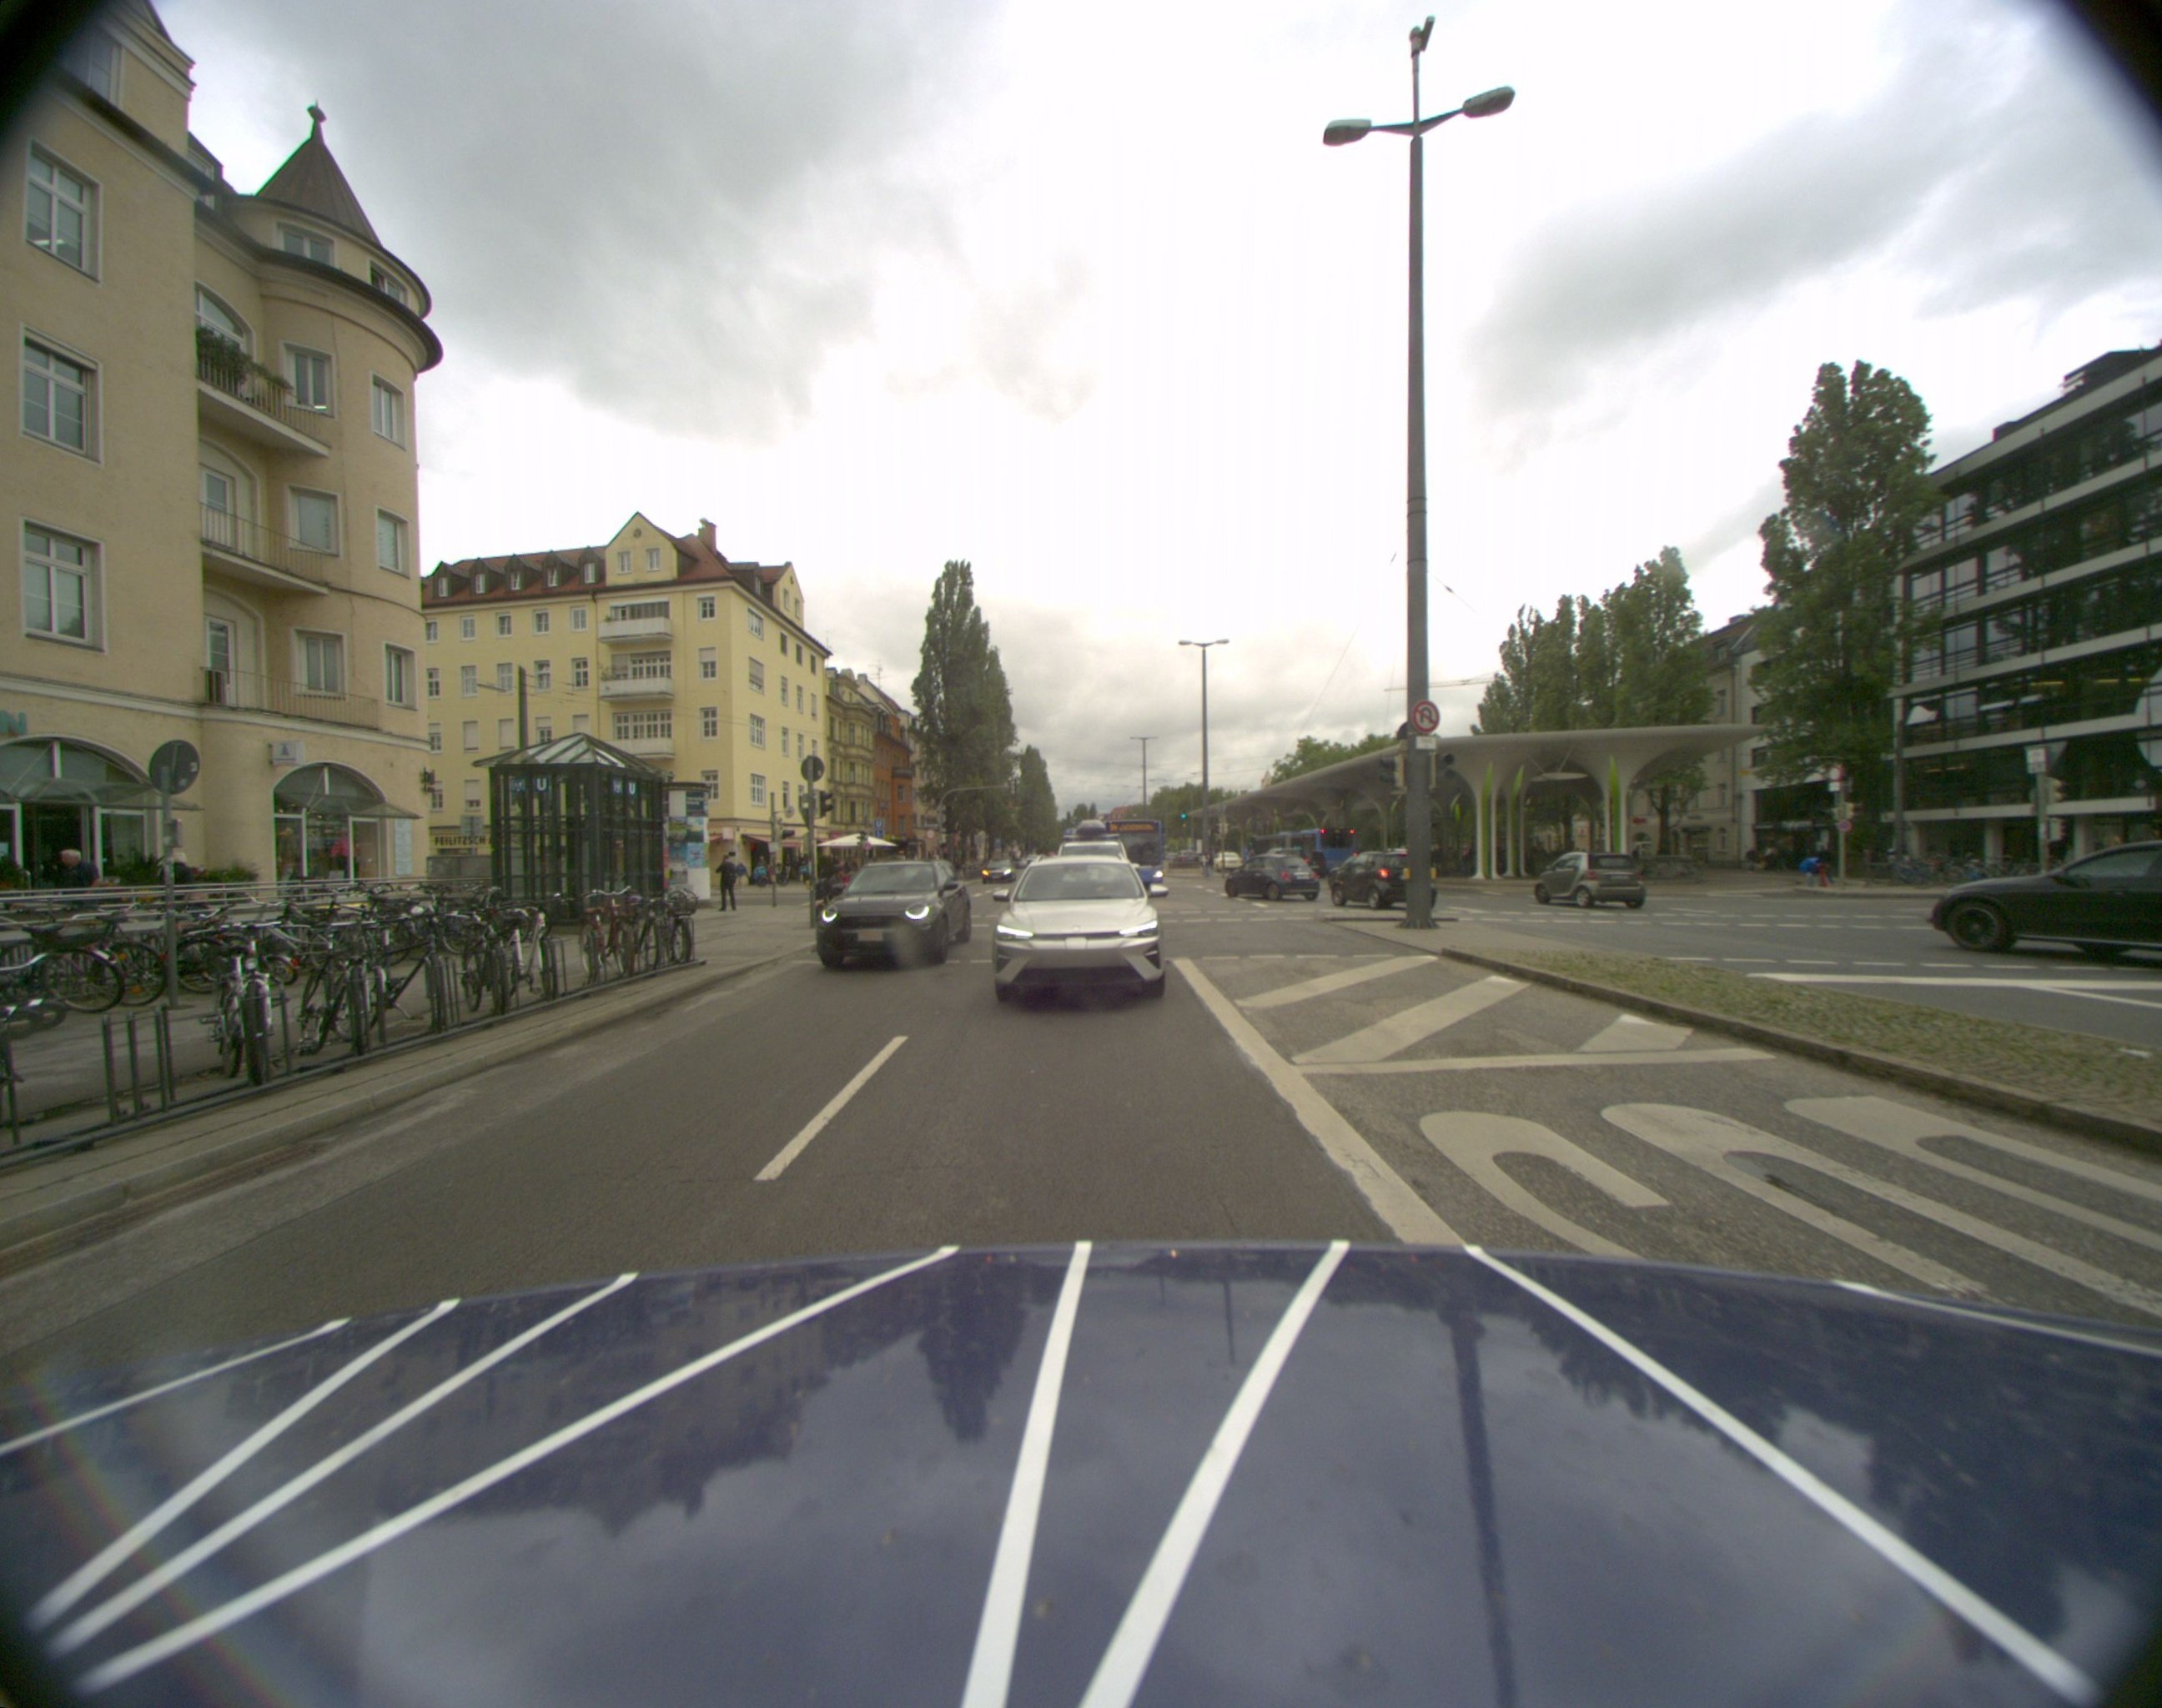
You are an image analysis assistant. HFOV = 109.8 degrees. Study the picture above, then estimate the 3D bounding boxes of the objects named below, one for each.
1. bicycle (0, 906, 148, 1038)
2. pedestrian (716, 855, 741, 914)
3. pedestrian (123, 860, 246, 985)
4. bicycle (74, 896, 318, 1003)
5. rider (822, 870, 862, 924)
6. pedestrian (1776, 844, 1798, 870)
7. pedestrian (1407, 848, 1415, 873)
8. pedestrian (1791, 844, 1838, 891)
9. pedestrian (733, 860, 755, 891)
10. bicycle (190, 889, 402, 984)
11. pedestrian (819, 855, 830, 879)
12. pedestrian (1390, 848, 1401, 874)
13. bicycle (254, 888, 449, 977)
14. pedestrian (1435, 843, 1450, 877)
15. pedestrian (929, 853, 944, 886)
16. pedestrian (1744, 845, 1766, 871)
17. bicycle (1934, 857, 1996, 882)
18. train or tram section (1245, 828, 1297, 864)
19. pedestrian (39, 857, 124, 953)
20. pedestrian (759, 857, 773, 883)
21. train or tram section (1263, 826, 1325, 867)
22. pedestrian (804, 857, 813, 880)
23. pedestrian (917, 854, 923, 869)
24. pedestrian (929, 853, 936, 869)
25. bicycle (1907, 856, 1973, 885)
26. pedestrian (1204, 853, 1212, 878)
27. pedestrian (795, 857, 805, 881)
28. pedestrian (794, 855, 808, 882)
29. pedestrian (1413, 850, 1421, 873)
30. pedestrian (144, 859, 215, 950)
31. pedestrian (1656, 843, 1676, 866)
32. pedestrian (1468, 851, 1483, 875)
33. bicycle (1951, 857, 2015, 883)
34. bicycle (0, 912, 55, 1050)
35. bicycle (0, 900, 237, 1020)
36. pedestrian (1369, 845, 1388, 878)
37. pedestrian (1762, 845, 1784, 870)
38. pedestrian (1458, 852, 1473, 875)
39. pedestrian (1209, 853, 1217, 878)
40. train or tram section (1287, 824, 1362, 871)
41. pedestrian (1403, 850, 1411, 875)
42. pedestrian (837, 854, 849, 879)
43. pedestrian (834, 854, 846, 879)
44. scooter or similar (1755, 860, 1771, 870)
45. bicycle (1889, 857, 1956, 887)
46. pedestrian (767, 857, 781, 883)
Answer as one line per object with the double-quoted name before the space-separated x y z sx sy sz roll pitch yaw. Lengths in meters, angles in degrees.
"bicycle" -10.897 1.163 7.638 2.342 1.220 0.628 -1 1 3
"pedestrian" -10.794 0.911 23.283 0.641 1.767 0.609 -2 1 -23
"pedestrian" -12.659 0.936 10.761 0.809 1.682 0.755 -1 1 -13
"bicycle" -10.776 1.152 9.288 2.342 1.220 0.628 -1 1 3
"rider" -5.722 1.021 18.224 0.732 1.234 0.732 1 1 -2
"pedestrian" 48.294 0.205 51.986 0.800 1.714 0.827 0 1 12
"pedestrian" 19.472 0.366 44.798 0.335 1.493 0.317 -1 1 -9
"pedestrian" 28.264 0.499 29.283 0.861 1.767 0.980 -1 1 1
"pedestrian" -17.505 1.109 39.502 0.714 1.558 0.832 -2 1 1
"bicycle" -10.728 1.116 10.416 2.330 1.220 0.628 -1 1 3
"pedestrian" -18.146 0.888 53.801 0.552 1.675 0.585 -1 1 1
"pedestrian" 18.669 0.403 45.113 0.425 1.493 0.490 0 1 41
"bicycle" -10.695 1.140 11.172 2.317 1.220 0.628 -1 1 3
"pedestrian" 19.473 0.318 40.925 0.666 1.840 0.789 0 1 20
"pedestrian" -8.023 0.844 42.183 0.732 1.792 0.710 -1 3 -8
"pedestrian" 45.238 0.253 51.010 0.834 1.689 0.906 0 1 23
"bicycle" 41.394 0.717 35.588 2.073 1.127 0.561 -1 1 6
"train or tram section" 16.629 -0.647 66.998 2.840 2.983 7.407 -1 0 0
"pedestrian" -18.422 0.923 14.022 0.618 1.729 0.644 -1 2 -1
"pedestrian" -18.420 0.934 44.425 0.528 1.517 0.585 -1 1 1
"train or tram section" 16.581 -0.539 59.628 2.840 2.983 7.407 -1 0 0
"pedestrian" -17.922 0.968 49.935 0.529 1.517 0.584 -1 1 -17
"pedestrian" -17.420 0.804 82.124 0.552 1.675 0.585 -1 1 1
"pedestrian" -16.275 0.747 83.247 0.552 1.675 0.585 -1 1 1
"bicycle" 33.927 0.625 30.038 0.473 1.091 1.672 -1 0 -24
"pedestrian" 7.277 0.648 43.610 0.357 1.411 0.380 -1 1 0
"pedestrian" -18.440 0.990 49.857 0.529 1.517 0.584 -1 1 -17
"pedestrian" -17.654 0.898 47.934 0.685 1.657 0.621 -1 1 -31
"pedestrian" 19.630 0.428 44.398 0.303 1.369 0.270 -1 1 -2
"pedestrian" -17.297 0.947 14.595 0.566 1.691 0.590 -1 2 -1
"pedestrian" 45.109 0.065 58.556 0.984 1.762 0.951 -1 1 -31
"pedestrian" 22.464 0.514 43.245 0.549 1.330 0.592 -1 1 0
"bicycle" 41.373 0.728 34.851 2.073 1.127 0.561 -1 1 6
"bicycle" -10.954 1.175 6.960 2.367 1.220 0.628 -1 1 3
"bicycle" -10.744 1.147 8.351 2.317 1.220 0.628 -1 1 3
"pedestrian" 16.119 0.412 41.122 0.711 1.738 0.788 0 1 0
"pedestrian" 47.360 0.243 52.039 0.800 1.714 0.827 0 1 11
"pedestrian" 21.895 0.536 43.285 0.549 1.330 0.592 -1 1 0
"pedestrian" 7.511 0.645 43.242 0.357 1.411 0.380 -1 1 0
"train or tram section" 16.523 -0.434 52.214 2.840 2.983 7.407 -1 0 0
"pedestrian" 19.187 0.495 44.774 0.320 1.493 0.317 -1 1 -9
"pedestrian" -15.836 0.827 50.598 0.552 1.675 0.585 -1 1 1
"pedestrian" -16.296 0.831 51.388 0.552 1.675 0.585 -1 1 1
"scooter or similar" 47.419 0.777 52.829 0.519 0.711 0.681 0 1 11
"bicycle" 32.627 0.685 29.474 0.473 1.091 1.672 -1 0 -24
"pedestrian" -17.916 0.914 44.304 0.528 1.517 0.585 -1 1 1
